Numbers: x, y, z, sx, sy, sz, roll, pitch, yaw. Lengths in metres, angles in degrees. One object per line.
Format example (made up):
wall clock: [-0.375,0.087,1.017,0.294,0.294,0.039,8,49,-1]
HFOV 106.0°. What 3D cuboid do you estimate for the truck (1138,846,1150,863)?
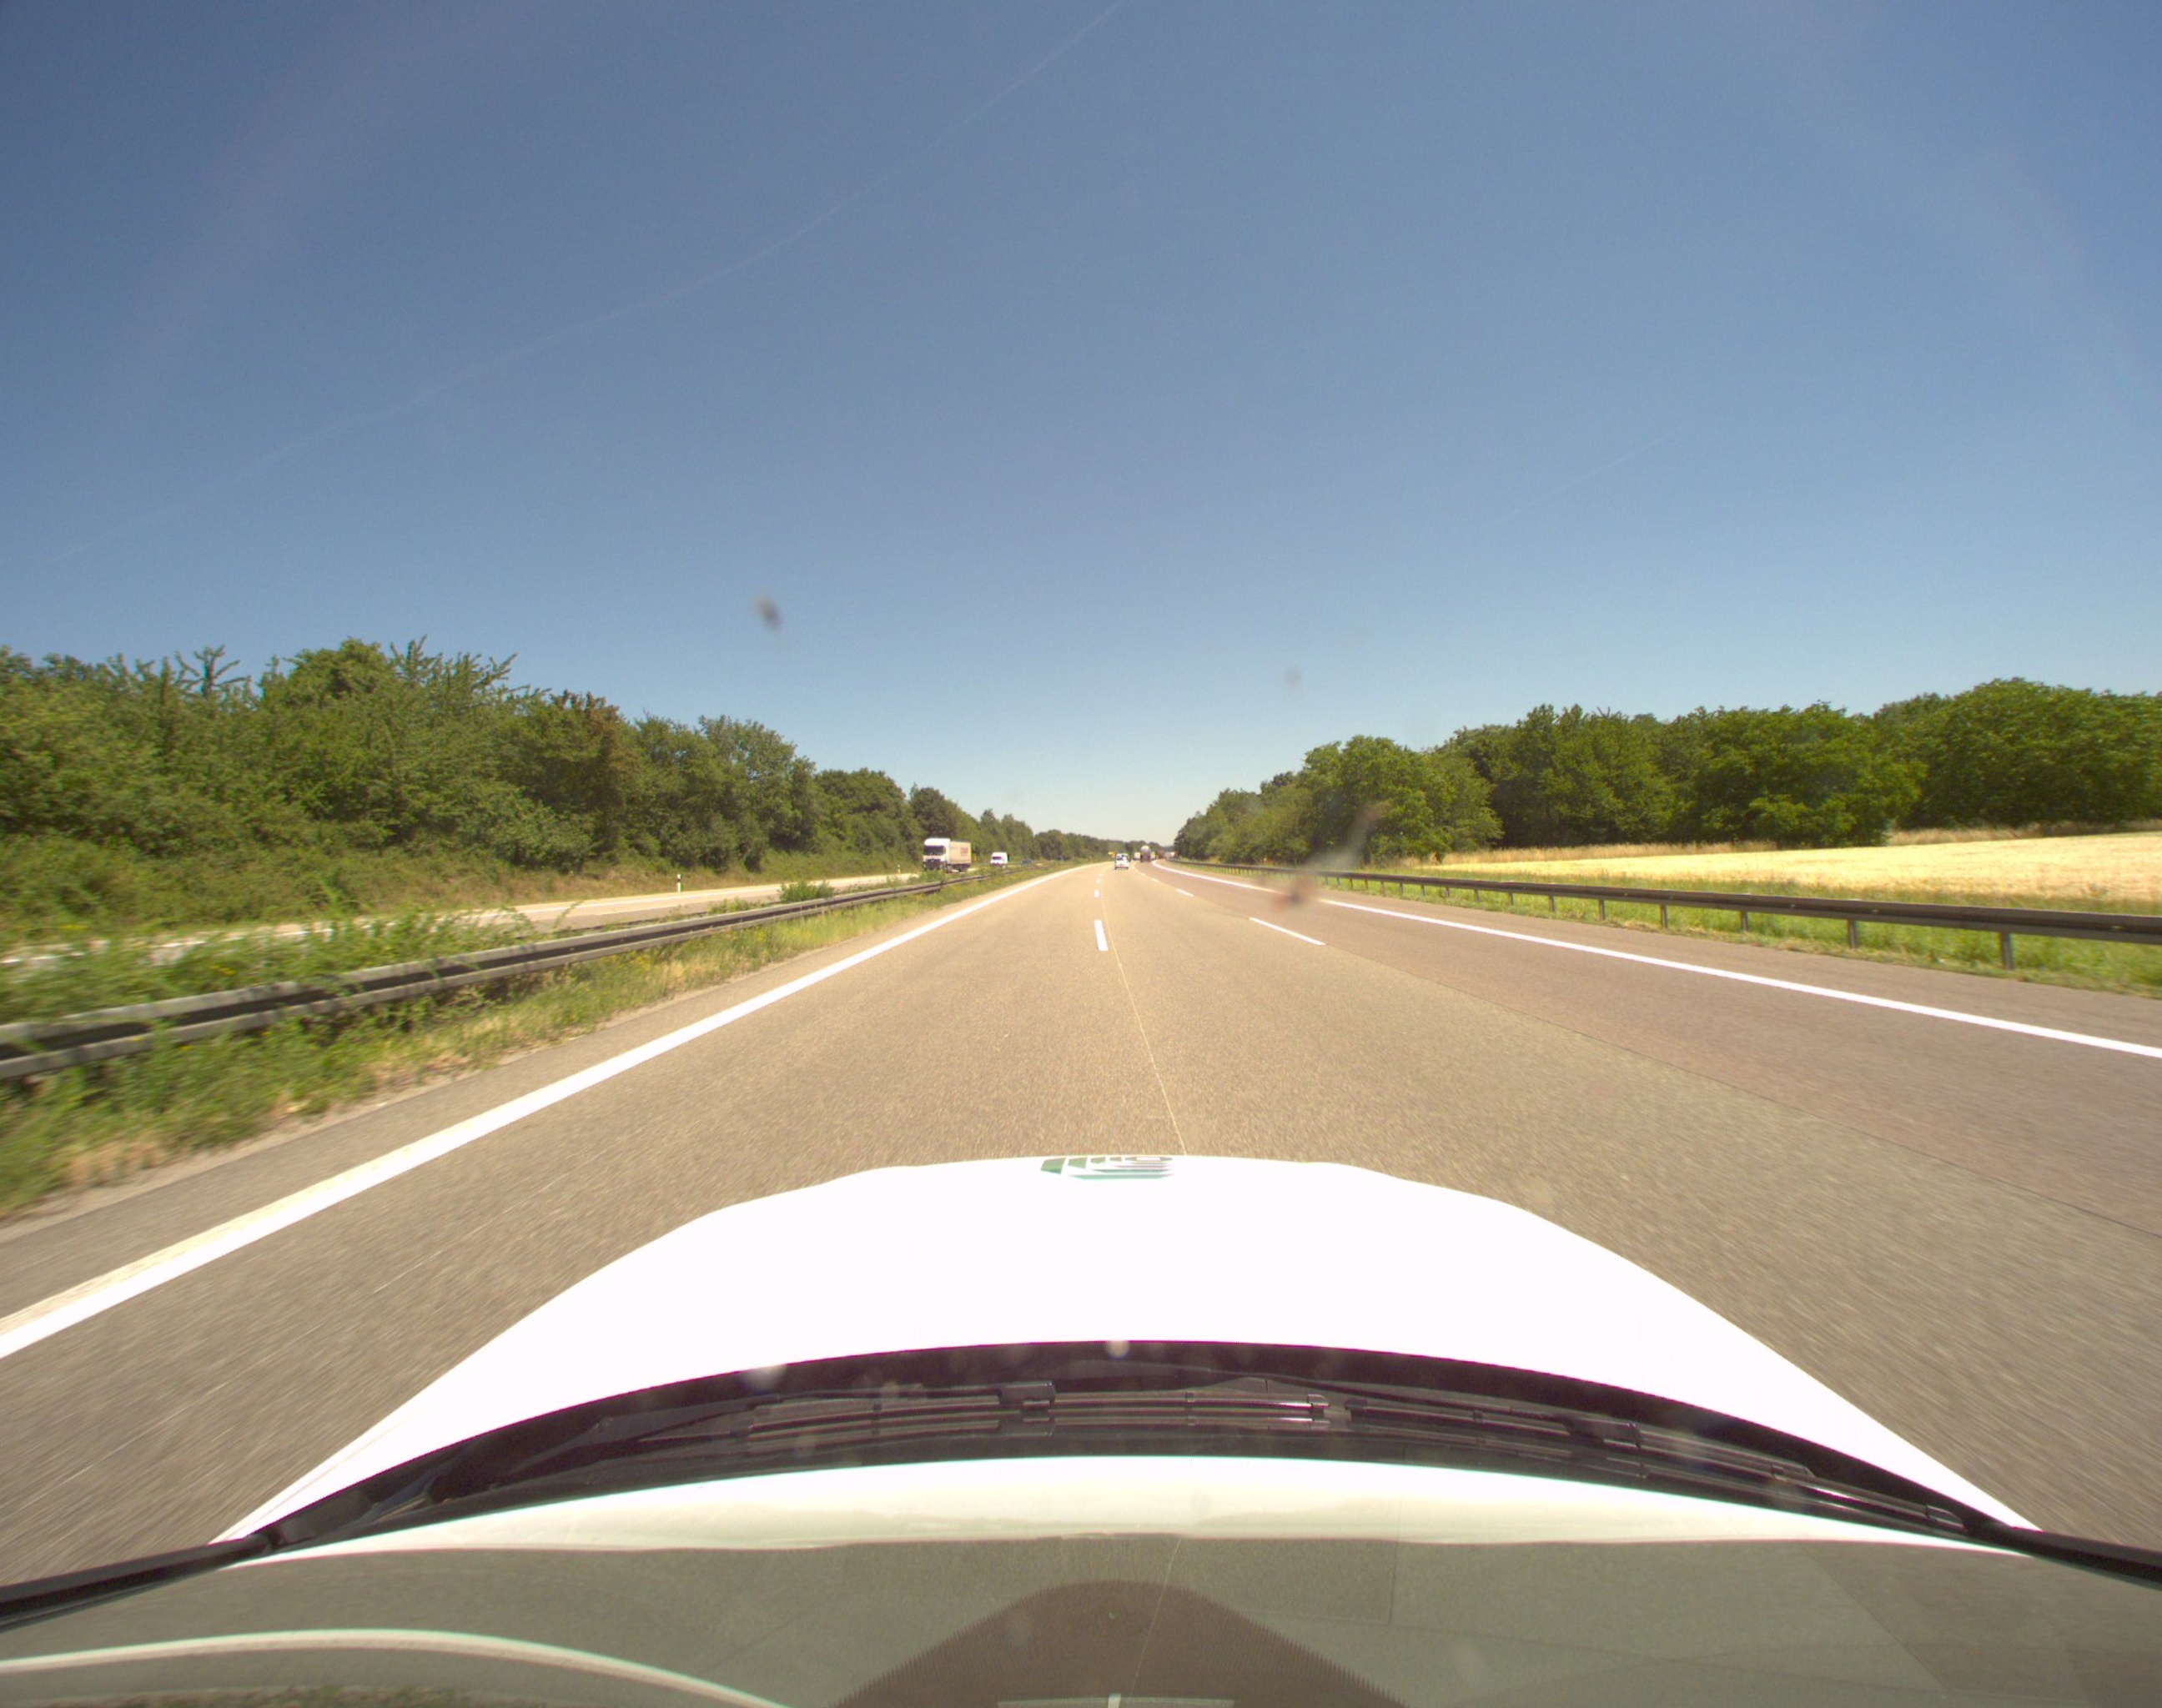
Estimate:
truck: [15.209,0.207,197.406,2.726,4.052,10.467,-2,-1,5]

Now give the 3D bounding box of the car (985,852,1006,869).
car: [-14.206,1.058,135.349,2.220,2.576,7.396,-2,0,3]

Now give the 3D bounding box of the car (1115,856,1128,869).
car: [5.022,1.072,101.270,1.621,1.479,4.002,-1,-1,2]

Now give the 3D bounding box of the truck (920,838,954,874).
truck: [-16.416,0.249,92.998,2.691,3.965,4.446,-2,-1,3]

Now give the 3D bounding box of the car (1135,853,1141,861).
car: [18.309,0.942,260.658,1.984,2.343,4.392,-1,0,4]

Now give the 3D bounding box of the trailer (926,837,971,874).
trailer: [-16.086,0.166,100.131,2.695,4.184,13.566,-2,0,2]
